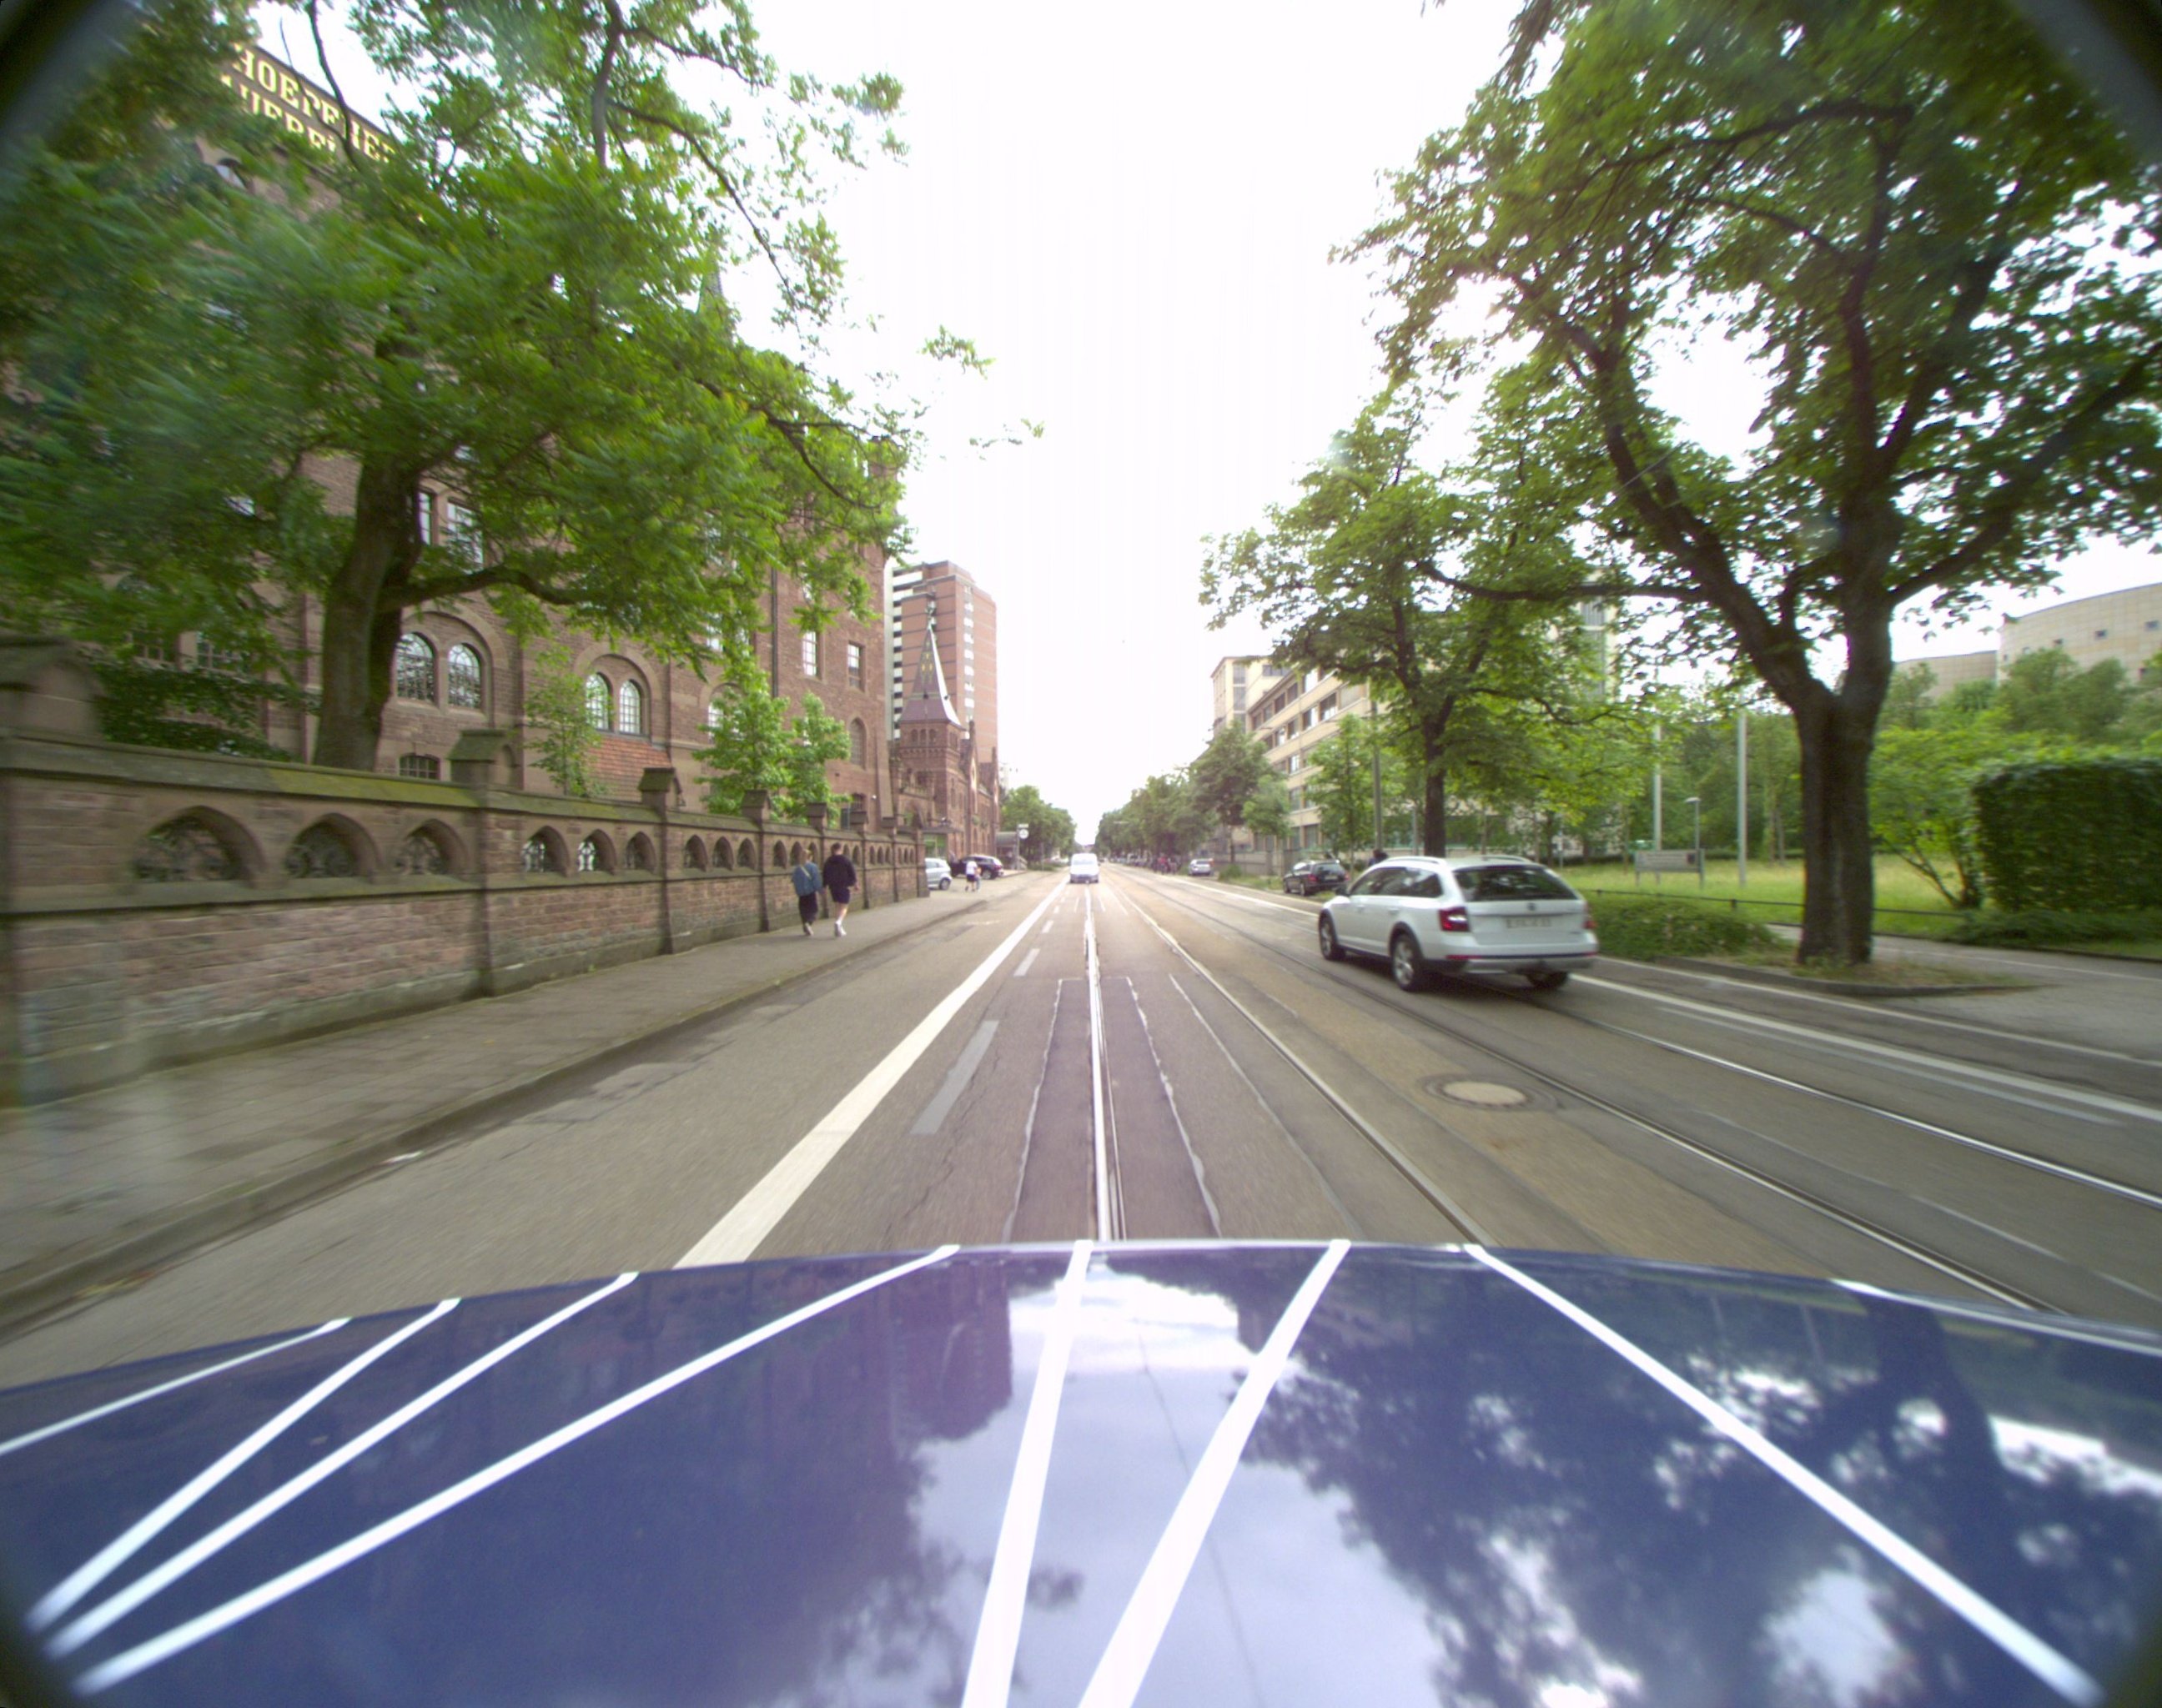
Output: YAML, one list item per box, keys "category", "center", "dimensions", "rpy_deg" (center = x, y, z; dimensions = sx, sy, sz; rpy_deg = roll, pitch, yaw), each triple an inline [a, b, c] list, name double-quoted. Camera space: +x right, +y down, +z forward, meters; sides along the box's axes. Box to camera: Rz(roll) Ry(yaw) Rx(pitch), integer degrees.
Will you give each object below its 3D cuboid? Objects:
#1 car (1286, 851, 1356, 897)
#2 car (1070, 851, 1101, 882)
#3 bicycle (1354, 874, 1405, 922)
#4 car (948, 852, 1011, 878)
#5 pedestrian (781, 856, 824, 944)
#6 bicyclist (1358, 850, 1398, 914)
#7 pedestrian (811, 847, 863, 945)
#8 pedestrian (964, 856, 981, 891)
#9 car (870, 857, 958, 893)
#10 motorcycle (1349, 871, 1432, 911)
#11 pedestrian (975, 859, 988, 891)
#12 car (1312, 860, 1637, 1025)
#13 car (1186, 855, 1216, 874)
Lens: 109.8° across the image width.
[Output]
- category: "car"
  center: [9.850, 0.780, 31.515]
  dimensions: [1.815, 1.699, 4.000]
  rpy_deg: [-2, 1, 4]
- category: "car"
  center: [0.327, 0.780, 49.341]
  dimensions: [1.850, 1.797, 4.936]
  rpy_deg: [-2, 1, 1]
- category: "bicycle"
  center: [7.493, 1.090, 19.160]
  dimensions: [0.636, 1.044, 1.994]
  rpy_deg: [-2, 1, 5]
- category: "car"
  center: [-7.255, 0.764, 54.386]
  dimensions: [3.992, 1.608, 2.002]
  rpy_deg: [3, 1, 12]
- category: "pedestrian"
  center: [-5.364, 0.863, 14.671]
  dimensions: [0.559, 1.646, 0.771]
  rpy_deg: [1, 1, -2]
- category: "bicyclist"
  center: [7.477, 0.690, 19.161]
  dimensions: [0.636, 1.528, 0.955]
  rpy_deg: [-2, 1, 5]
- category: "pedestrian"
  center: [-4.704, 0.782, 14.706]
  dimensions: [0.723, 1.834, 0.897]
  rpy_deg: [1, 1, -2]
- category: "pedestrian"
  center: [-5.472, 0.954, 38.286]
  dimensions: [0.669, 1.703, 0.997]
  rpy_deg: [3, 1, -2]
- category: "car"
  center: [-8.381, 1.037, 38.433]
  dimensions: [1.849, 1.565, 4.007]
  rpy_deg: [-2, 1, 37]
- category: "motorcycle"
  center: [9.275, 1.094, 22.830]
  dimensions: [2.128, 1.096, 0.776]
  rpy_deg: [-2, 1, 42]
- category: "pedestrian"
  center: [-5.026, 1.056, 38.371]
  dimensions: [0.529, 1.548, 0.489]
  rpy_deg: [3, 1, -2]
- category: "car"
  center: [4.408, 0.860, 9.377]
  dimensions: [1.745, 1.490, 4.260]
  rpy_deg: [-1, 0, -1]
- category: "car"
  center: [9.943, 0.836, 63.257]
  dimensions: [1.849, 1.425, 3.951]
  rpy_deg: [-2, 1, 0]
